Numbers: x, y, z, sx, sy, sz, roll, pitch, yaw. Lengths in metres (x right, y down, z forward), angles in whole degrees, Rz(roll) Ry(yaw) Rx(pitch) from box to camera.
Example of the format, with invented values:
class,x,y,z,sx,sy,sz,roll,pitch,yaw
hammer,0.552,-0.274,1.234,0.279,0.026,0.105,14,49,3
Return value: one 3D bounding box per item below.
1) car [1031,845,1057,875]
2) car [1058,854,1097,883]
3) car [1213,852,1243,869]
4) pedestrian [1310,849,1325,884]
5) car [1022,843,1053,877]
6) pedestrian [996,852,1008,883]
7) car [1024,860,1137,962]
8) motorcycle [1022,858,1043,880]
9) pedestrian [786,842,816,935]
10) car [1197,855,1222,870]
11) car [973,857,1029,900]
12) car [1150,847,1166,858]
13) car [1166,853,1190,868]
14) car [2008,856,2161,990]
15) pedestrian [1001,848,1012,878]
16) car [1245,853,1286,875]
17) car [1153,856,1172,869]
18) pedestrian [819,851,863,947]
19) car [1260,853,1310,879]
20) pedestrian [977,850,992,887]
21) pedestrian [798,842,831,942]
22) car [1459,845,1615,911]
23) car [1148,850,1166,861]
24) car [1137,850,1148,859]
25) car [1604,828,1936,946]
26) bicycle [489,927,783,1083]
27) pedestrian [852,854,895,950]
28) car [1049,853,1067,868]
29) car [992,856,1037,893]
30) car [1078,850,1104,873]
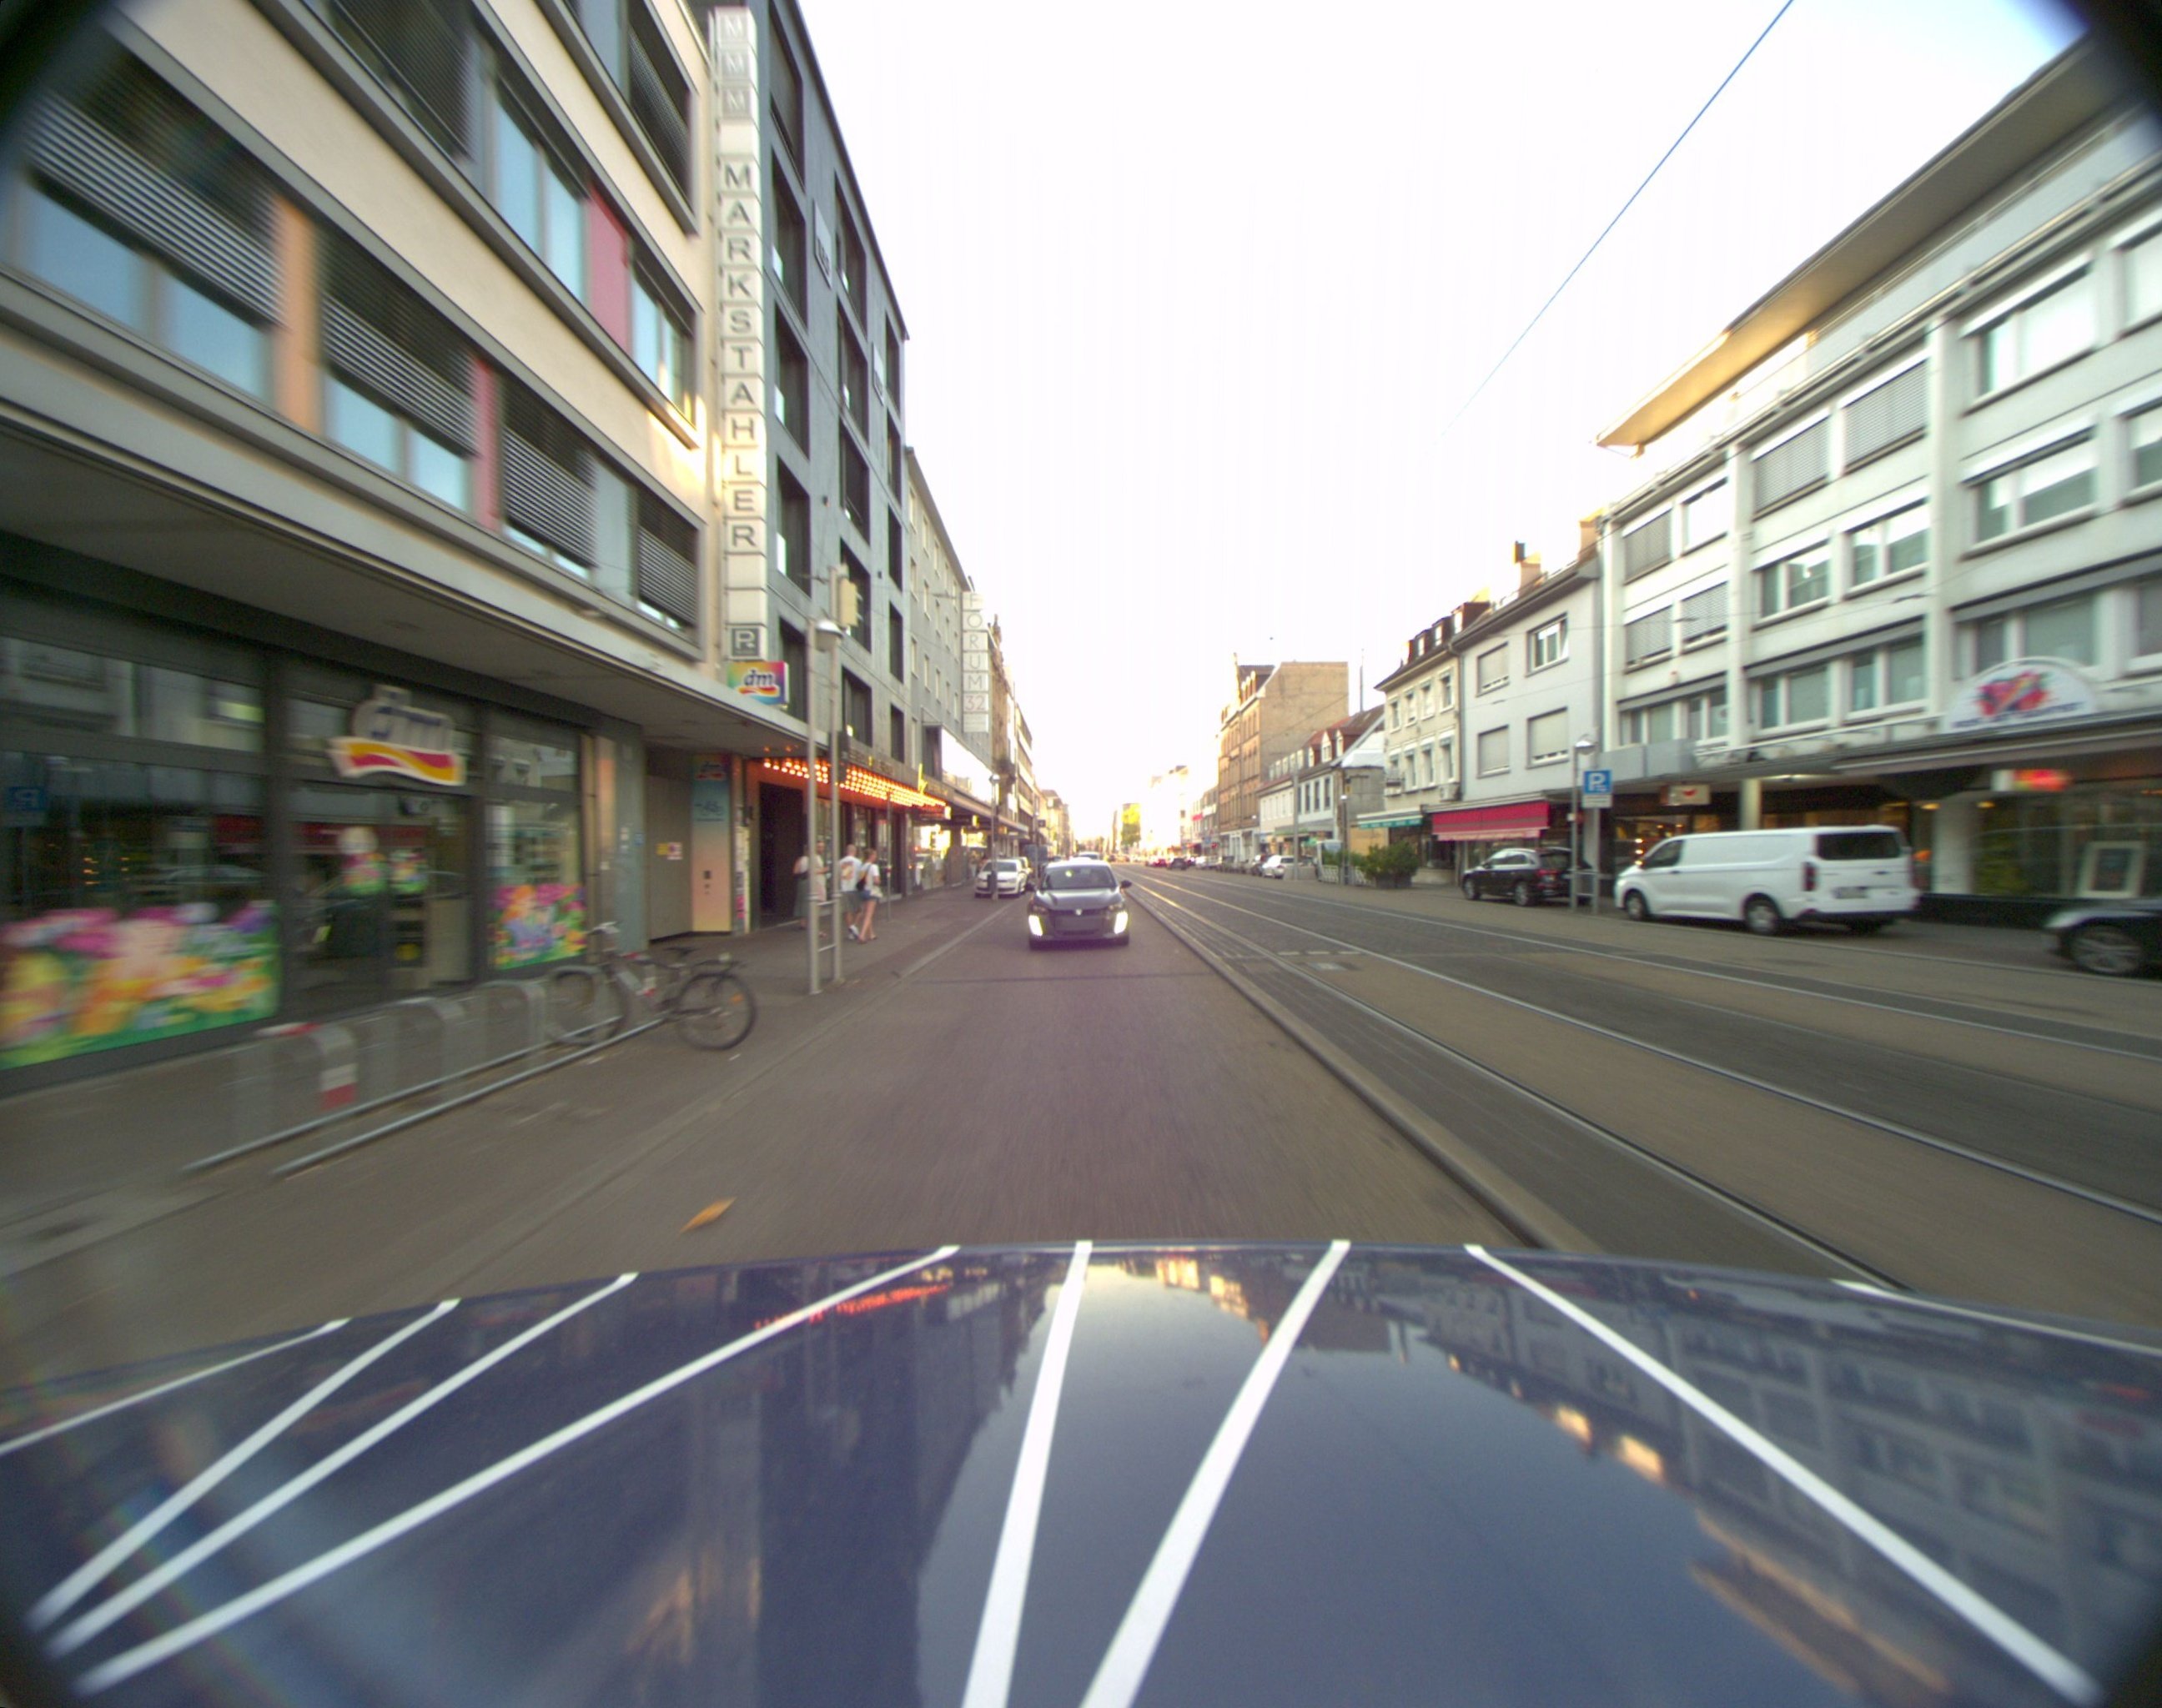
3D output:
class,x,y,z,sx,sy,sz,roll,pitch,yaw
car,-3.052,0.471,63.880,1.999,2.390,5.563,0,0,-1
car,-0.186,0.768,41.887,1.998,1.450,4.000,-1,0,0
car,13.551,0.603,70.257,1.998,1.543,4.000,-1,0,0
pedestrian,13.579,0.697,43.597,0.823,2.002,0.713,0,1,16
car,-3.223,0.425,57.439,2.046,2.371,5.584,0,0,-1
pedestrian,-4.518,0.749,43.308,0.610,1.743,0.605,0,1,0
car,-0.039,0.915,14.130,1.732,1.513,4.333,-2,0,-1
motorcycle,-3.121,0.956,49.212,0.574,1.369,1.513,0,1,30
pedestrian,-5.738,0.703,15.584,0.452,1.888,0.421,0,1,0
car,13.911,0.924,82.424,1.998,1.543,4.206,-1,0,0
car,-3.036,0.895,29.629,1.682,1.534,3.886,1,0,1
car,11.358,-0.266,112.356,1.998,1.543,4.000,-1,0,0
car,10.157,0.651,79.967,1.998,1.543,4.000,-1,0,0
car,13.240,0.784,7.747,1.998,1.457,4.558,-2,0,-1
pedestrian,-5.085,0.614,51.880,0.711,2.002,0.824,0,1,0
car,13.333,0.677,55.198,1.914,1.535,4.552,-1,0,0
car,10.362,1.077,97.108,1.998,1.543,4.000,-1,0,0
pedestrian,-4.432,0.818,14.060,0.610,1.743,0.605,0,1,0
car,13.292,0.756,49.871,1.998,1.535,4.878,-2,0,1
pedestrian,-4.634,0.683,36.439,0.610,1.743,0.605,0,1,0
pedestrian,-5.110,0.713,14.580,0.456,1.888,0.421,0,1,0
car,13.384,0.643,22.680,1.863,1.711,4.527,-2,0,-1
car,10.387,0.215,104.287,1.998,1.543,4.000,-1,0,0
car,13.420,0.108,165.866,1.998,2.024,4.000,0,0,0
car,13.264,0.550,15.258,1.960,1.965,5.162,0,0,-1
bicycle,-3.446,1.162,6.004,1.890,1.071,0.676,1,0,-2
pedestrian,-3.802,0.857,13.968,0.605,1.717,0.646,0,1,0
car,-2.612,0.762,86.785,1.999,1.627,5.243,0,0,-1
car,-2.976,0.877,34.801,1.673,1.565,4.034,0,0,0
car,0.763,0.563,61.358,1.999,1.805,3.999,-1,0,-1
